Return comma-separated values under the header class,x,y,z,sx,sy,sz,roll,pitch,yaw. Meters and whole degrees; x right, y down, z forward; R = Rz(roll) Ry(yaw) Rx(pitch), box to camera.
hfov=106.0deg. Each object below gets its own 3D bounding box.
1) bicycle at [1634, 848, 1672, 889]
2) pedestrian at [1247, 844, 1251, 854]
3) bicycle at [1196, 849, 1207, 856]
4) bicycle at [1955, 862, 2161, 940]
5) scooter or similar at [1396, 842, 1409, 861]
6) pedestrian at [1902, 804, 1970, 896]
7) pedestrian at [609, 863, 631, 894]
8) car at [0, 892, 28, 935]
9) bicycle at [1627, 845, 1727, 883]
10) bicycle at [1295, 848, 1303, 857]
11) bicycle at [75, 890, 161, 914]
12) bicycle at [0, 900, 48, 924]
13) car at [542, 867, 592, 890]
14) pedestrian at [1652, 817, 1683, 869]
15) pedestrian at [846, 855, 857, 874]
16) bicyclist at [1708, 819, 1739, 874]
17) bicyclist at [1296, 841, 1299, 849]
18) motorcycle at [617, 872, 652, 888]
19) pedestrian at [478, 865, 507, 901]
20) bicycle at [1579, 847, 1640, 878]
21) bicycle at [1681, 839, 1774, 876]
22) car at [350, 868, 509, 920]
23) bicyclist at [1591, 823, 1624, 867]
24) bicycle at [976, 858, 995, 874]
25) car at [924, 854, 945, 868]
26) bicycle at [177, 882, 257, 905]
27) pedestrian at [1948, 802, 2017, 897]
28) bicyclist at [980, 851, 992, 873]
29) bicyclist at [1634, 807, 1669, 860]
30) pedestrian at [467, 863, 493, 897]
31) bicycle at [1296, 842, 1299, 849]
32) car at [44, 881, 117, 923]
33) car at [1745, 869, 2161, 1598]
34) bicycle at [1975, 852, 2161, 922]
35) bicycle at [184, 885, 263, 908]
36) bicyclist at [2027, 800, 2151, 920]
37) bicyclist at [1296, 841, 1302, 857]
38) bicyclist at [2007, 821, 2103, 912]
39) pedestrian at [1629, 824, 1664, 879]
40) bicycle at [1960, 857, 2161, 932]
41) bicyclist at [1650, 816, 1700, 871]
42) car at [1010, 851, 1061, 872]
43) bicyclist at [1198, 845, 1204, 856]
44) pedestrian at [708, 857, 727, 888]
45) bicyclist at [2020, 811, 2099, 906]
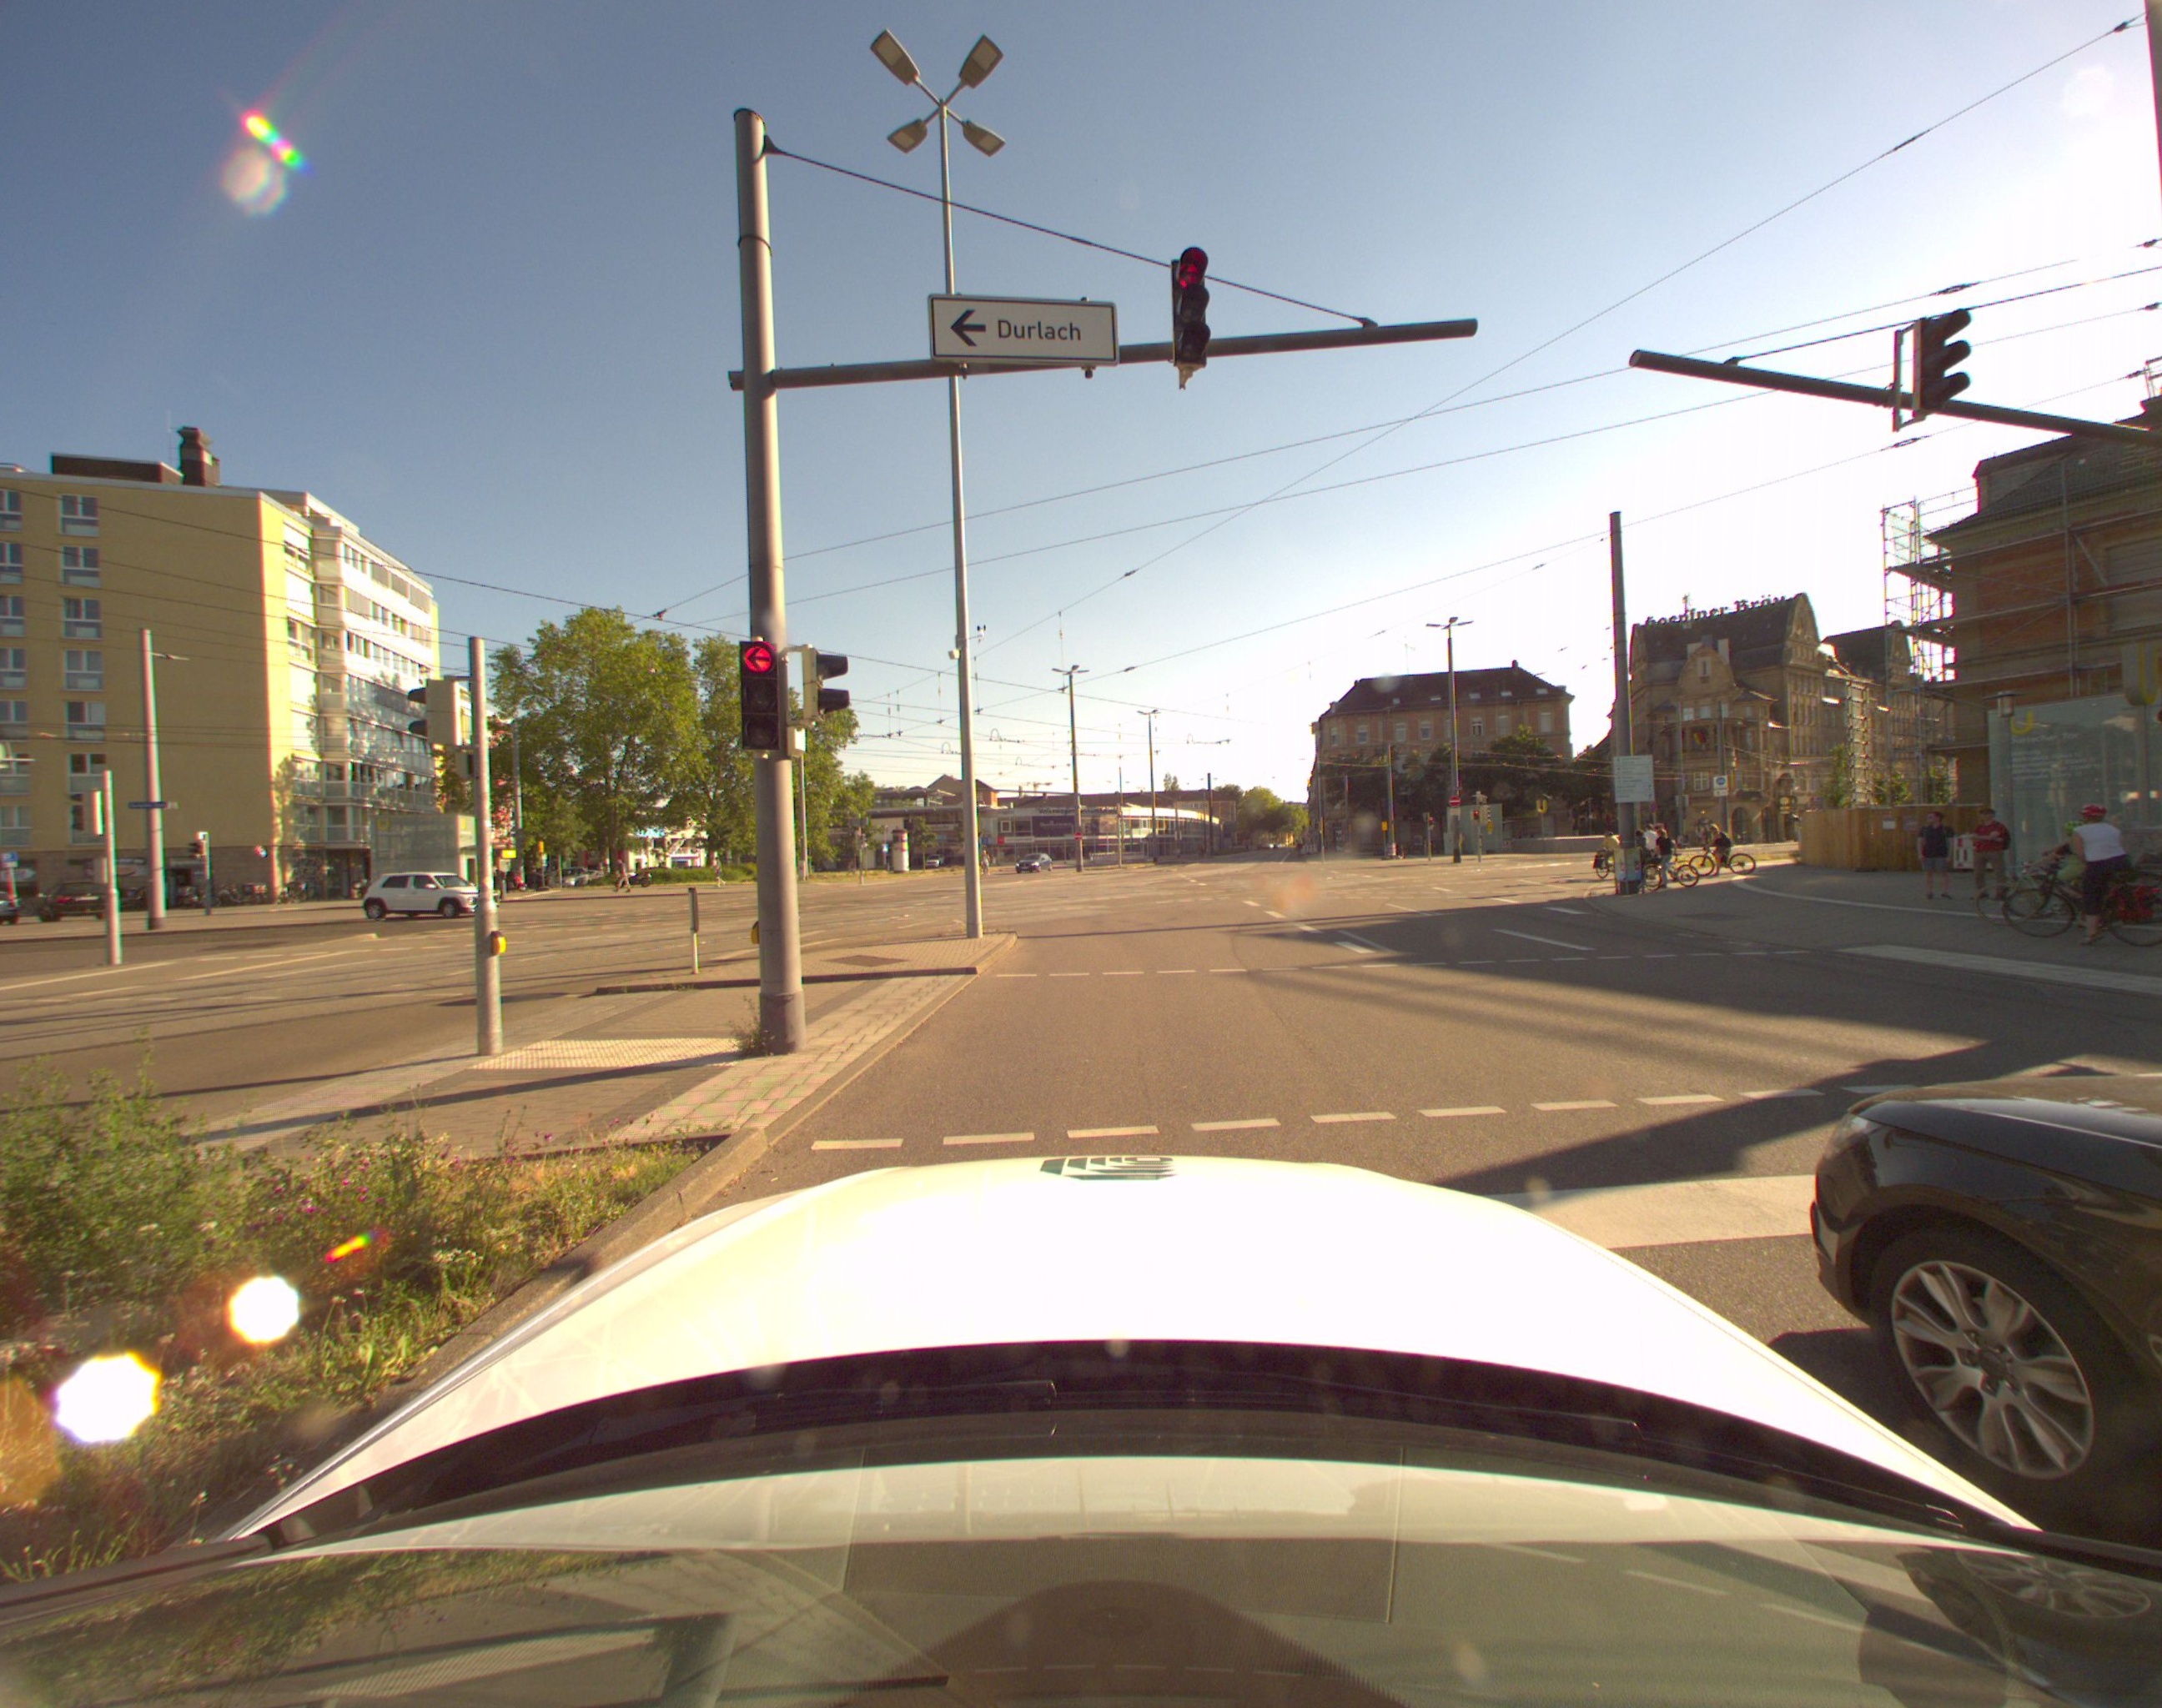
class,x,y,z,sx,sy,sz,roll,pitch,yaw
bicycle,15.939,0.378,22.726,0.692,1.049,2.335,0,1,31
pedestrian,34.864,-0.966,168.908,0.713,2.014,0.758,0,-1,3
bicycle,17.357,-0.203,117.398,0.632,0.870,2.249,-1,-1,32
bicycle,13.448,0.590,11.180,0.656,0.963,2.033,0,-1,-3
scooter or similar,24.645,-0.183,62.413,0.780,1.376,1.916,-1,-1,16
pedestrian,17.335,-0.082,16.525,0.672,1.807,0.680,-3,0,-19
pedestrian,-25.974,1.375,45.912,0.790,1.706,0.760,-1,-1,9
car,-46.981,2.549,34.919,3.948,1.706,2.013,-1,-1,35
bicycle,17.181,0.291,23.553,0.701,1.049,2.303,0,-1,-22
bicycle,22.542,-0.124,84.212,0.653,0.952,1.605,-1,-1,12
bicycle,-50.281,2.477,42.561,3.041,1.151,0.637,0,-1,-16
bicycle,-54.425,2.940,41.093,3.041,1.151,0.637,0,-1,-16
car,-37.308,1.723,59.251,1.772,1.567,3.983,0,-1,-12
pedestrian,21.916,-0.413,30.445,0.646,1.922,0.689,0,-1,-6
pedestrian,-21.270,0.956,75.454,0.854,1.694,0.497,0,-1,-1
bicyclist,21.124,-0.238,26.785,0.785,1.779,0.526,-1,-1,37
bicyclist,31.003,-1.296,116.721,0.405,1.116,0.400,-1,-1,13
motorcycle,-27.266,1.581,49.768,1.779,0.914,0.675,0,-1,-19
pedestrian,-27.980,1.380,38.742,0.790,1.706,0.760,-1,-1,9
bicycle,19.180,0.278,29.628,0.533,1.049,2.315,0,1,-6
bicycle,21.187,0.126,26.743,2.290,1.049,0.539,-5,-1,36
car,-22.252,1.342,27.945,3.974,1.662,1.786,0,-1,-1
bicyclist,19.175,-0.312,29.665,0.514,1.557,0.945,0,-1,-6
bicycle,-7.029,0.873,59.989,0.607,1.189,1.878,-1,-1,19
car,-17.986,0.855,99.995,1.988,1.750,3.997,0,-1,-1
bicycle,-46.236,2.092,43.604,3.041,1.151,0.637,0,-1,-16
pedestrian,17.538,-0.089,15.848,0.672,1.807,0.680,0,-1,-19
bicyclist,-6.996,0.586,60.085,0.593,1.615,0.826,-1,-1,18
bicyclist,15.957,-0.551,22.796,0.701,1.439,0.953,-1,-1,30
pedestrian,-31.072,1.335,42.120,0.790,1.706,0.760,-1,-1,9
bicycle,31.013,-1.214,116.767,0.407,0.941,1.852,-1,-1,15
car,-44.206,2.079,35.978,3.948,1.706,1.730,-1,-1,35
car,2.887,0.740,0.603,1.617,1.404,4.001,0,0,2
bicycle,15.472,0.485,12.648,0.661,0.963,2.018,-4,1,-25
bicycle,-46.511,2.289,44.224,3.041,1.151,0.637,0,-1,-16
bicyclist,13.475,0.077,10.914,0.664,1.553,0.794,0,-1,-3
bicyclist,22.547,-0.521,84.258,0.516,1.700,0.517,0,-1,4
bicyclist,14.426,0.182,12.079,0.614,1.315,0.673,0,-1,-3
pedestrian,21.089,-0.097,30.376,0.730,2.014,0.760,0,-1,-6
bicycle,14.443,0.552,12.011,0.657,0.963,2.033,-4,0,-3
bicyclist,17.171,-0.301,23.559,0.710,1.557,0.940,0,-1,-21
car,-3.418,0.564,62.003,1.975,1.585,4.024,-1,-1,29
bicyclist,17.292,-0.569,117.328,0.647,1.572,0.928,-1,-1,31
pedestrian,-22.338,1.124,50.080,0.790,1.886,0.760,-1,-1,9
bicyclist,15.384,0.068,12.811,0.619,1.454,0.667,0,-1,-27
